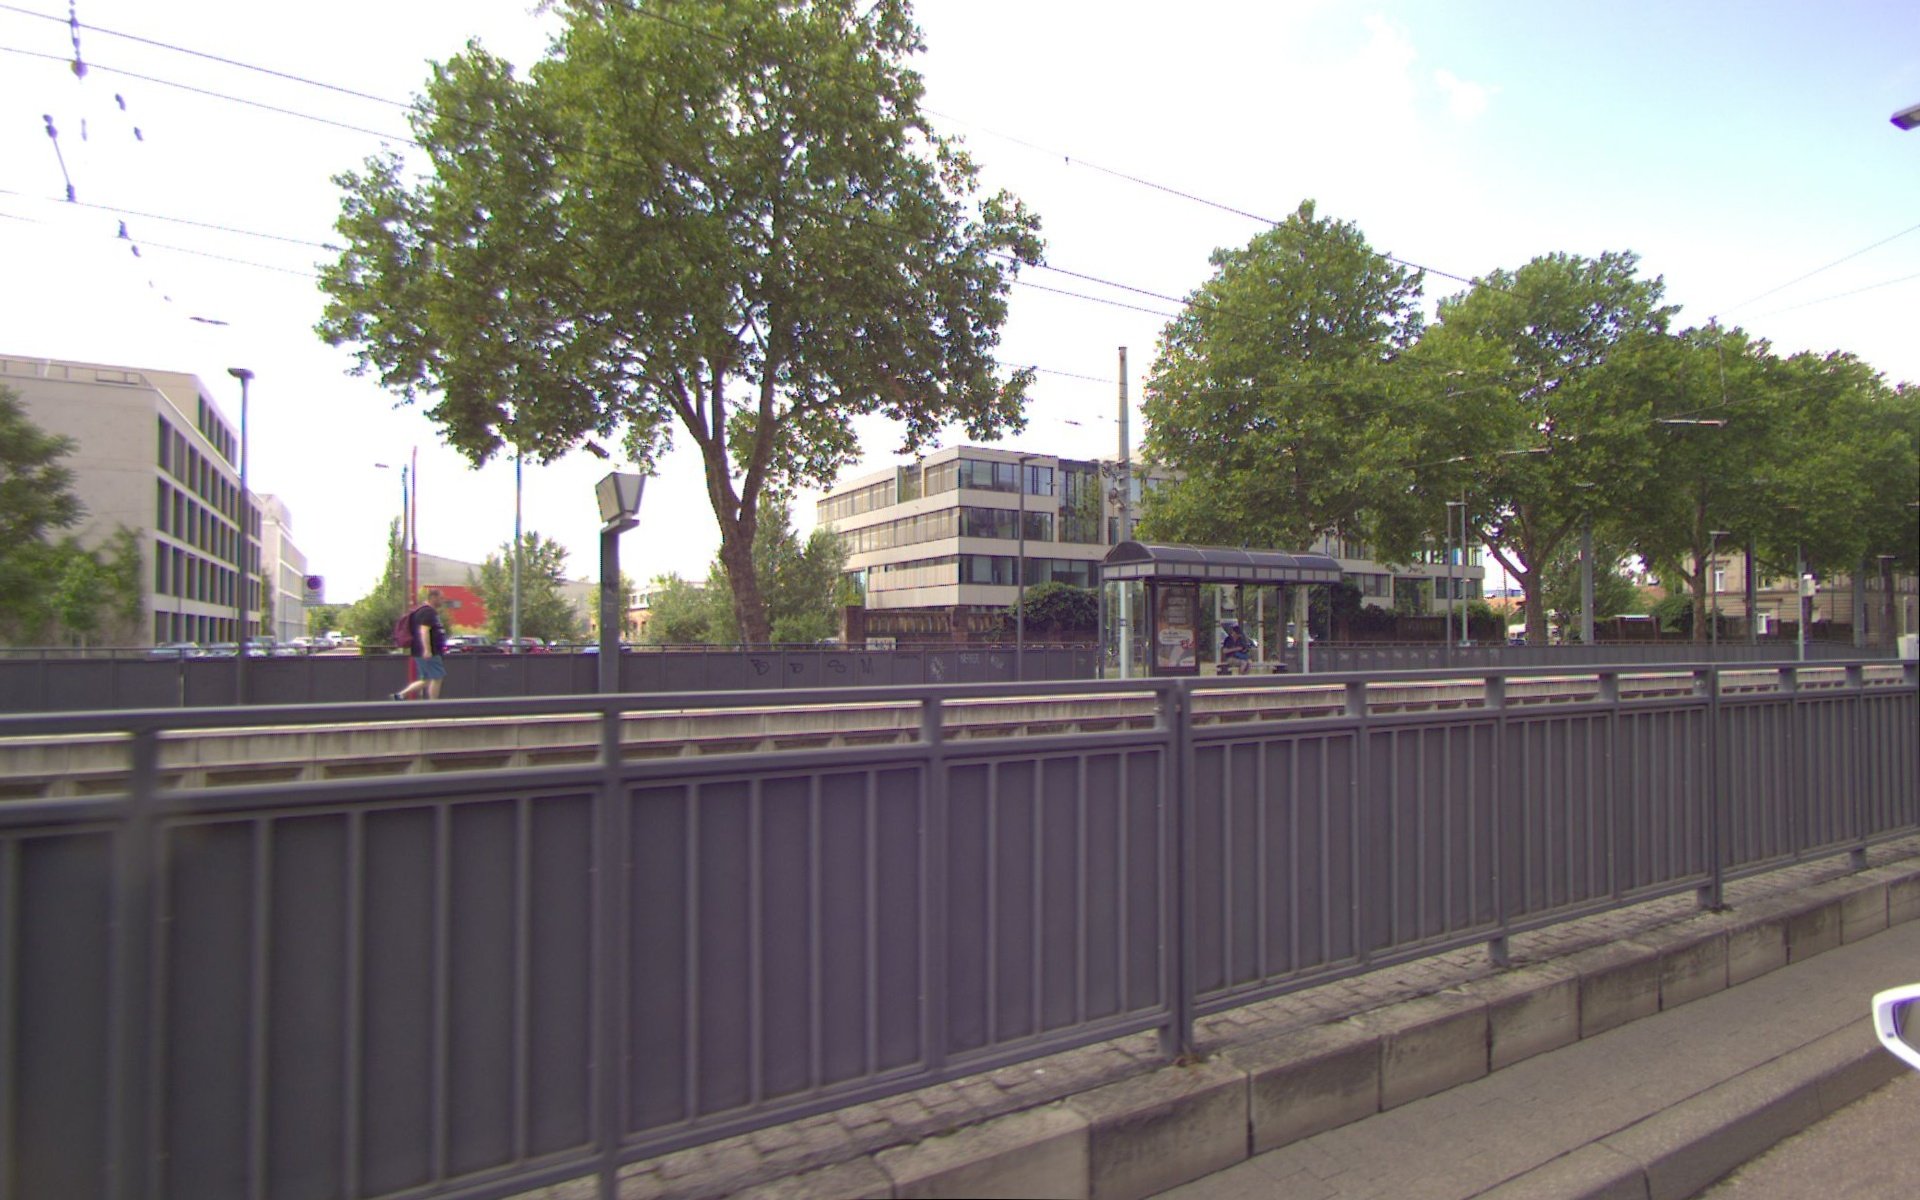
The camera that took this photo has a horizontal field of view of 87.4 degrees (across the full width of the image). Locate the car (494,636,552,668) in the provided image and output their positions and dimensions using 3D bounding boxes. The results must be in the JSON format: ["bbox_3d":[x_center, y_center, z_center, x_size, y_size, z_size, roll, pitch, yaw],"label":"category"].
[{"bbox_3d":[-25.236,3.035,58.172,1.801,1.794,4.000,-1,-4,-4],"label":"car"}]

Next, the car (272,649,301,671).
[{"bbox_3d":[-57.763,5.159,86.167,1.739,1.837,4.016,1,-4,-29],"label":"car"}]

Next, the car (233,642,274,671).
[{"bbox_3d":[-46.176,3.723,65.698,1.739,1.837,4.016,1,-4,-29],"label":"car"}]

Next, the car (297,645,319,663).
[{"bbox_3d":[-70.830,5.874,109.177,1.739,1.837,4.016,1,-4,-29],"label":"car"}]

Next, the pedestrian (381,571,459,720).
[{"bbox_3d":[-7.053,0.592,13.116,0.855,1.869,0.702,1,-2,-31],"label":"pedestrian"}]

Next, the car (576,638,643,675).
[{"bbox_3d":[-20.364,3.257,58.537,1.959,2.040,4.003,-1,-2,10],"label":"car"}]

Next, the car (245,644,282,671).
[{"bbox_3d":[-49.025,4.079,70.774,1.739,1.837,4.016,1,-4,-29],"label":"car"}]

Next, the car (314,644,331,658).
[{"bbox_3d":[-86.289,6.955,135.941,1.739,1.837,4.016,1,-4,-29],"label":"car"}]

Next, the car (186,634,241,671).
[{"bbox_3d":[-38.518,2.758,51.911,1.739,1.837,4.016,1,-4,-29],"label":"car"}]

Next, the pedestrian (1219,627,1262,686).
[{"bbox_3d":[6.256,1.242,22.419,0.758,1.286,0.550,1,-2,-29],"label":"pedestrian"}]

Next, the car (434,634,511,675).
[{"bbox_3d":[-25.436,2.855,52.552,1.961,2.039,4.440,-1,-4,-2],"label":"car"}]

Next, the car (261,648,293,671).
[{"bbox_3d":[-55.200,4.817,81.249,1.739,1.837,4.016,1,-4,-29],"label":"car"}]

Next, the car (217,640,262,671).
[{"bbox_3d":[-43.287,3.354,60.419,1.739,1.837,4.016,1,-4,-29],"label":"car"}]

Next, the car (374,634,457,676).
[{"bbox_3d":[-28.224,2.873,52.245,1.961,2.039,4.440,-1,-4,-2],"label":"car"}]

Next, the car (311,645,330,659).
[{"bbox_3d":[-81.833,6.668,128.571,1.739,1.837,4.016,1,-4,-29],"label":"car"}]

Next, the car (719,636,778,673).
[{"bbox_3d":[-12.042,3.079,57.469,1.959,2.040,4.003,-1,-2,10],"label":"car"}]

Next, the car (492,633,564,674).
[{"bbox_3d":[-22.514,2.820,52.595,1.961,2.039,4.440,-1,-4,-2],"label":"car"}]
